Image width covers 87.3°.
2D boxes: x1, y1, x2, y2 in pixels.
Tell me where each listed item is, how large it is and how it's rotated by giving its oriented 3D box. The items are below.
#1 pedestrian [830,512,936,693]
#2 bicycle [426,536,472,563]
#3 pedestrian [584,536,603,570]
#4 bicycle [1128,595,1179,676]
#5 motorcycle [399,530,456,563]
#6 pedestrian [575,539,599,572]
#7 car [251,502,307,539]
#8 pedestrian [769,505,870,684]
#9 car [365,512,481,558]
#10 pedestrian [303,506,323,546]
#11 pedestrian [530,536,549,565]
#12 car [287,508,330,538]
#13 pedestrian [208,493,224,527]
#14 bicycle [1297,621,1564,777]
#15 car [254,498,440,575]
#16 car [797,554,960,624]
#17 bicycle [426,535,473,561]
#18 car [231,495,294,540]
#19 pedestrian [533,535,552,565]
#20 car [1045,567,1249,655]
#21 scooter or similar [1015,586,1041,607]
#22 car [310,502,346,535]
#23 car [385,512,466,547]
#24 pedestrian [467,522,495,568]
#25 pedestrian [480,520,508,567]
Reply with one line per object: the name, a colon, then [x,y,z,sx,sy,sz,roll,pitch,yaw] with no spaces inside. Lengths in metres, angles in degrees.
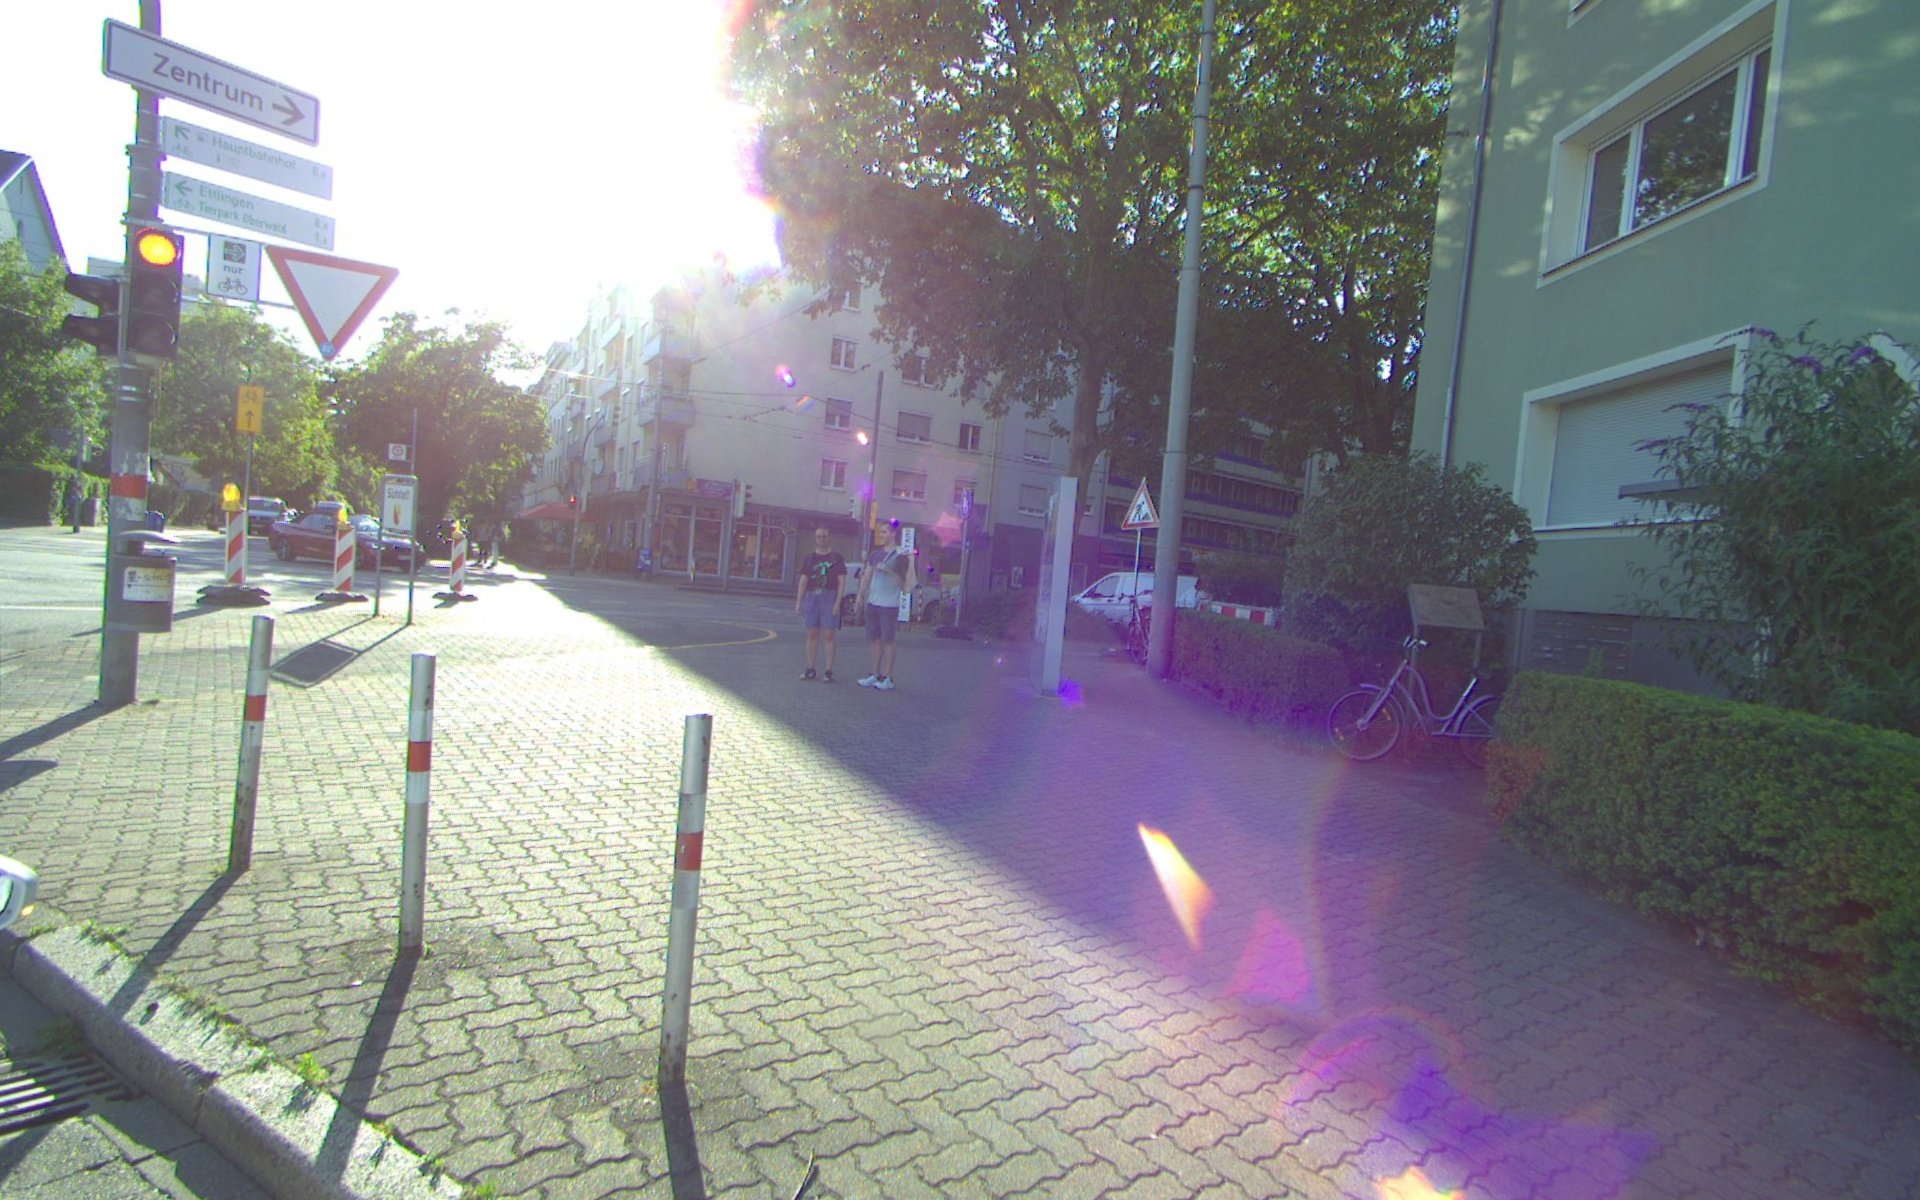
pedestrian: [-0.798,0.024,10.522,0.680,1.774,0.794,6,2,21]
bicycle: [-21.978,-2.170,43.278,1.708,0.945,0.557,5,2,-29]
pedestrian: [-17.855,-2.292,49.048,0.472,1.613,0.615,8,3,45]
bicycle: [2.860,0.493,15.004,0.511,1.071,1.933,6,2,7]
motorcycle: [-21.647,-2.167,40.883,1.938,1.124,0.829,4,2,-34]
pedestrian: [-18.352,-2.194,49.489,0.806,1.565,0.905,3,3,-35]
car: [-40.167,-4.682,59.460,2.336,1.818,5.265,4,2,-31]
pedestrian: [-1.480,-0.058,10.725,0.680,1.774,0.794,6,2,13]
car: [-30.233,-3.585,56.677,5.576,1.948,2.343,5,0,-32]
pedestrian: [-31.765,-3.620,49.405,0.656,1.864,0.677,4,3,-30]
pedestrian: [-21.466,-2.529,51.360,0.803,1.381,0.908,4,2,-23]
car: [-47.044,-5.581,72.771,2.336,1.818,5.265,4,2,-31]
pedestrian: [-40.724,-4.935,55.074,0.575,1.754,0.602,4,3,-34]
bicycle: [3.948,0.820,8.549,1.897,1.071,0.521,6,2,5]
car: [-16.242,-1.675,26.666,4.311,1.584,1.899,5,0,21]
car: [-2.240,-0.298,27.655,3.951,1.505,1.883,5,2,-28]
bicycle: [-21.608,-2.193,42.607,1.708,0.945,0.557,5,2,-29]
car: [-37.336,-4.399,53.988,2.336,2.040,5.265,4,2,-31]
pedestrian: [-20.826,-2.490,50.204,0.803,1.381,0.908,4,2,-23]
car: [4.706,0.221,26.132,1.913,1.849,5.185,5,0,-37]
scooter or similar: [3.522,-0.192,52.145,1.421,0.966,0.462,4,3,-44]
car: [-54.395,-6.982,86.636,2.336,2.548,5.265,4,2,-31]
car: [-39.357,-5.155,74.119,5.050,1.948,2.344,5,0,-32]
pedestrian: [-19.422,-2.211,40.832,0.706,1.774,0.793,5,2,-7]
pedestrian: [-18.578,-2.239,40.151,0.681,1.774,0.793,5,2,-7]
